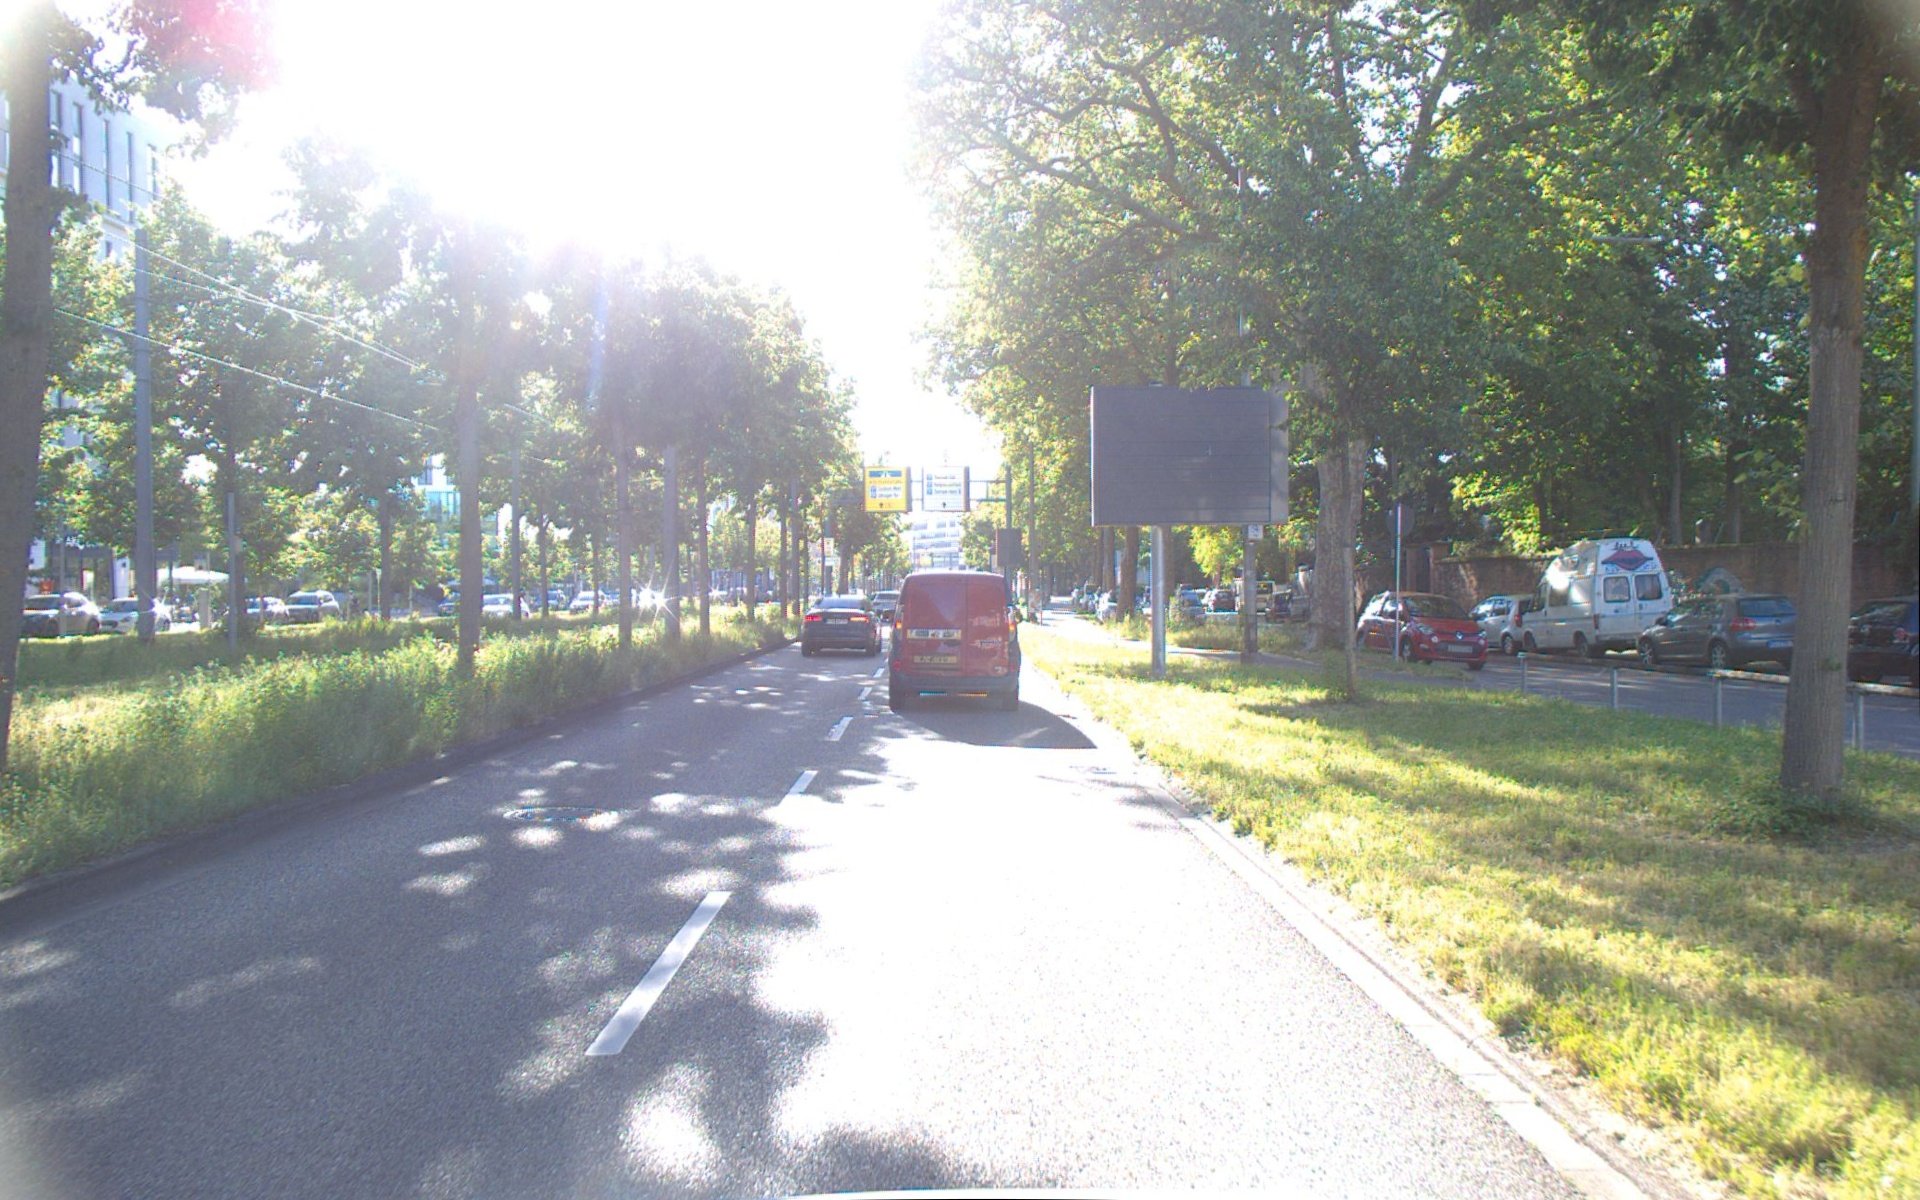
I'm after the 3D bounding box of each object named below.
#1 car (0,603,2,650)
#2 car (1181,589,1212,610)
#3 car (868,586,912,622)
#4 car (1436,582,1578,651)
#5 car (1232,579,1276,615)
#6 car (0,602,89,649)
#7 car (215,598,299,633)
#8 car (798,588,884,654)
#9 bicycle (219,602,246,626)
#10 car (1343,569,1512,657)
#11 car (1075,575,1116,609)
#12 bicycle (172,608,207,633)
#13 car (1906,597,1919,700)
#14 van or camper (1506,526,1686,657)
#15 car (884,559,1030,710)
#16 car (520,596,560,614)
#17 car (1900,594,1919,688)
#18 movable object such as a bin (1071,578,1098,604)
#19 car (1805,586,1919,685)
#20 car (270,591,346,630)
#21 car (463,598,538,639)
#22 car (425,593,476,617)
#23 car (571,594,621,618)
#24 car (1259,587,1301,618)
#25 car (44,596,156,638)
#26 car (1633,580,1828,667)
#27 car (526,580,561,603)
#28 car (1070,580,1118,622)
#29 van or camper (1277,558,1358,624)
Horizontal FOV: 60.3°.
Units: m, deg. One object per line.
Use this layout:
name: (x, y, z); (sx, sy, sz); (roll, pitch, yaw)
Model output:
car: (-31.292, 0.811, 50.227); (1.954, 1.466, 4.453); (1, 0, -3)
car: (19.601, -0.037, 137.155); (1.952, 1.668, 4.000); (1, 0, 1)
car: (-3.383, 0.205, 80.249); (1.953, 1.646, 3.999); (1, 0, 0)
car: (14.562, 0.406, 44.271); (1.807, 1.646, 3.989); (-4, 1, -11)
car: (17.262, -0.187, 97.451); (2.043, 2.049, 4.945); (0, 0, 4)
car: (-31.688, 0.826, 56.024); (1.954, 1.466, 4.933); (1, 0, -3)
car: (-31.335, 0.697, 73.815); (1.918, 1.466, 4.265); (1, 0, 0)
car: (-2.781, 0.477, 39.297); (1.755, 1.453, 3.999); (1, 0, 0)
bicycle: (-38.673, 0.748, 87.925); (0.576, 1.274, 1.839); (1, 0, -1)
car: (9.528, 0.258, 34.045); (1.955, 1.668, 3.994); (1, 0, -7)
car: (8.577, -0.500, 105.104); (2.145, 2.049, 5.820); (1, 0, 1)
bicycle: (-38.608, 0.995, 82.898); (0.718, 1.219, 2.240); (1, 0, -1)
car: (15.646, 0.536, 22.277); (4.624, 1.430, 2.000); (-4, 0, -1)
van or camper: (14.793, -0.183, 38.811); (1.954, 2.778, 4.961); (-3, 0, -4)
car: (-0.127, 0.447, 23.010); (1.773, 1.870, 3.997); (1, 0, -3)
car: (-32.546, 0.418, 128.331); (1.873, 1.348, 4.611); (1, 0, 0)
car: (16.423, 0.552, 24.647); (3.907, 1.416, 1.619); (-2, 0, -2)
movable object such as a bin: (10.076, -0.701, 134.012); (2.038, 2.049, 2.137); (1, 0, 3)
car: (16.006, 0.549, 26.713); (3.911, 1.531, 1.763); (0, 0, -7)
car: (-31.557, 0.517, 80.221); (1.954, 1.803, 4.774); (1, 0, -3)
car: (-20.512, 0.800, 73.995); (1.953, 1.715, 5.109); (1, 0, -1)
car: (-32.386, 0.297, 105.229); (1.841, 1.460, 4.609); (1, 0, -1)
car: (-23.102, 0.363, 105.199); (1.952, 1.466, 4.704); (1, 0, 2)
car: (16.204, 0.124, 83.963); (1.654, 1.498, 3.760); (-2, 0, 5)
car: (-31.654, 0.615, 61.053); (1.954, 1.466, 4.453); (1, 0, -3)
car: (15.276, 0.447, 33.053); (1.953, 1.601, 3.999); (-1, 0, -1)
car: (-39.108, -0.763, 155.382); (1.952, 2.049, 4.563); (2, 0, 0)
car: (5.502, 0.050, 68.386); (1.756, 1.587, 4.021); (3, 0, 2)
van or camper: (15.912, -0.431, 73.982); (2.503, 2.731, 6.568); (-2, 0, 4)
